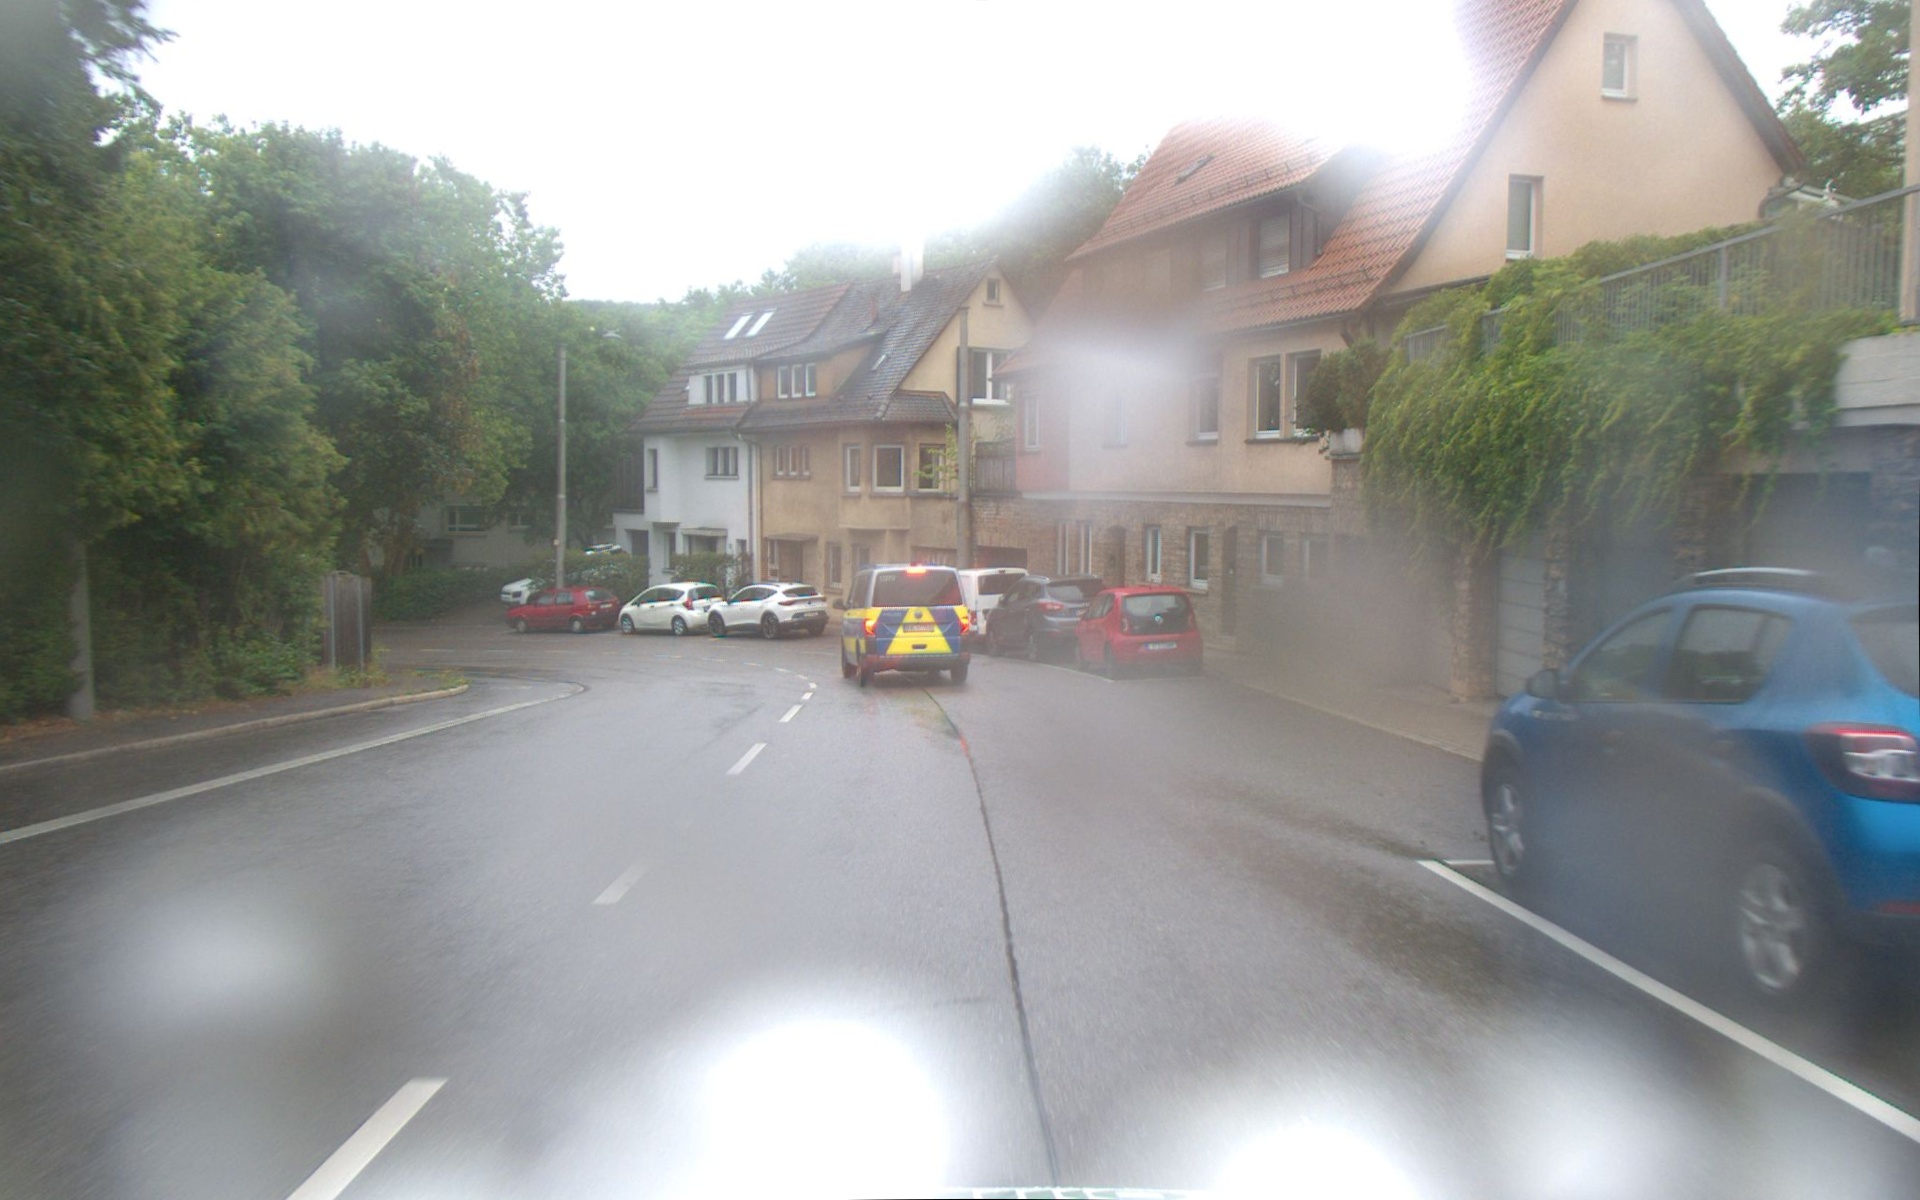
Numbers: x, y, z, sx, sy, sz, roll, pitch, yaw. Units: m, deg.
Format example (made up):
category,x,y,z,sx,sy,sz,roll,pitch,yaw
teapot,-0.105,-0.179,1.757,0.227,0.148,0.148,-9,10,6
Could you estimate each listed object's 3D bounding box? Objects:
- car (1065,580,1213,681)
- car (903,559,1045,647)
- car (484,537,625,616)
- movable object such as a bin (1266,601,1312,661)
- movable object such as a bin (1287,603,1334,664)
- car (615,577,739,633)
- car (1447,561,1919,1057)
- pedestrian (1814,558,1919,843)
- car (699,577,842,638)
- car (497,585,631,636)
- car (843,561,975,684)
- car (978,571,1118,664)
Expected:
category,x,y,z,sx,sy,sz,roll,pitch,yaw
car,3.043,0.468,28.857,1.586,1.460,3.574,-4,3,-10
car,0.257,0.025,38.698,1.682,1.821,4.296,-5,3,-23
car,-14.735,-0.900,60.203,4.363,1.870,1.979,-16,10,-31
movable object such as a bin,5.592,0.519,28.138,0.576,0.939,0.507,-4,2,-7
movable object such as a bin,5.807,0.552,27.409,0.584,0.939,0.513,-4,2,-7
car,-8.763,0.162,51.050,3.755,1.541,1.761,-2,3,42
car,3.765,0.639,7.565,1.699,1.621,4.252,-1,1,-2
pedestrian,5.725,0.590,10.181,0.613,1.679,0.608,1,0,-33
car,-5.499,0.224,47.648,1.904,1.564,4.347,-6,3,-41
car,-12.931,0.360,53.965,4.104,1.390,1.783,-2,3,30
car,-0.985,0.388,29.158,1.955,1.926,4.564,-2,0,-6
car,1.727,0.291,33.914,1.588,1.632,4.396,-4,3,-13
